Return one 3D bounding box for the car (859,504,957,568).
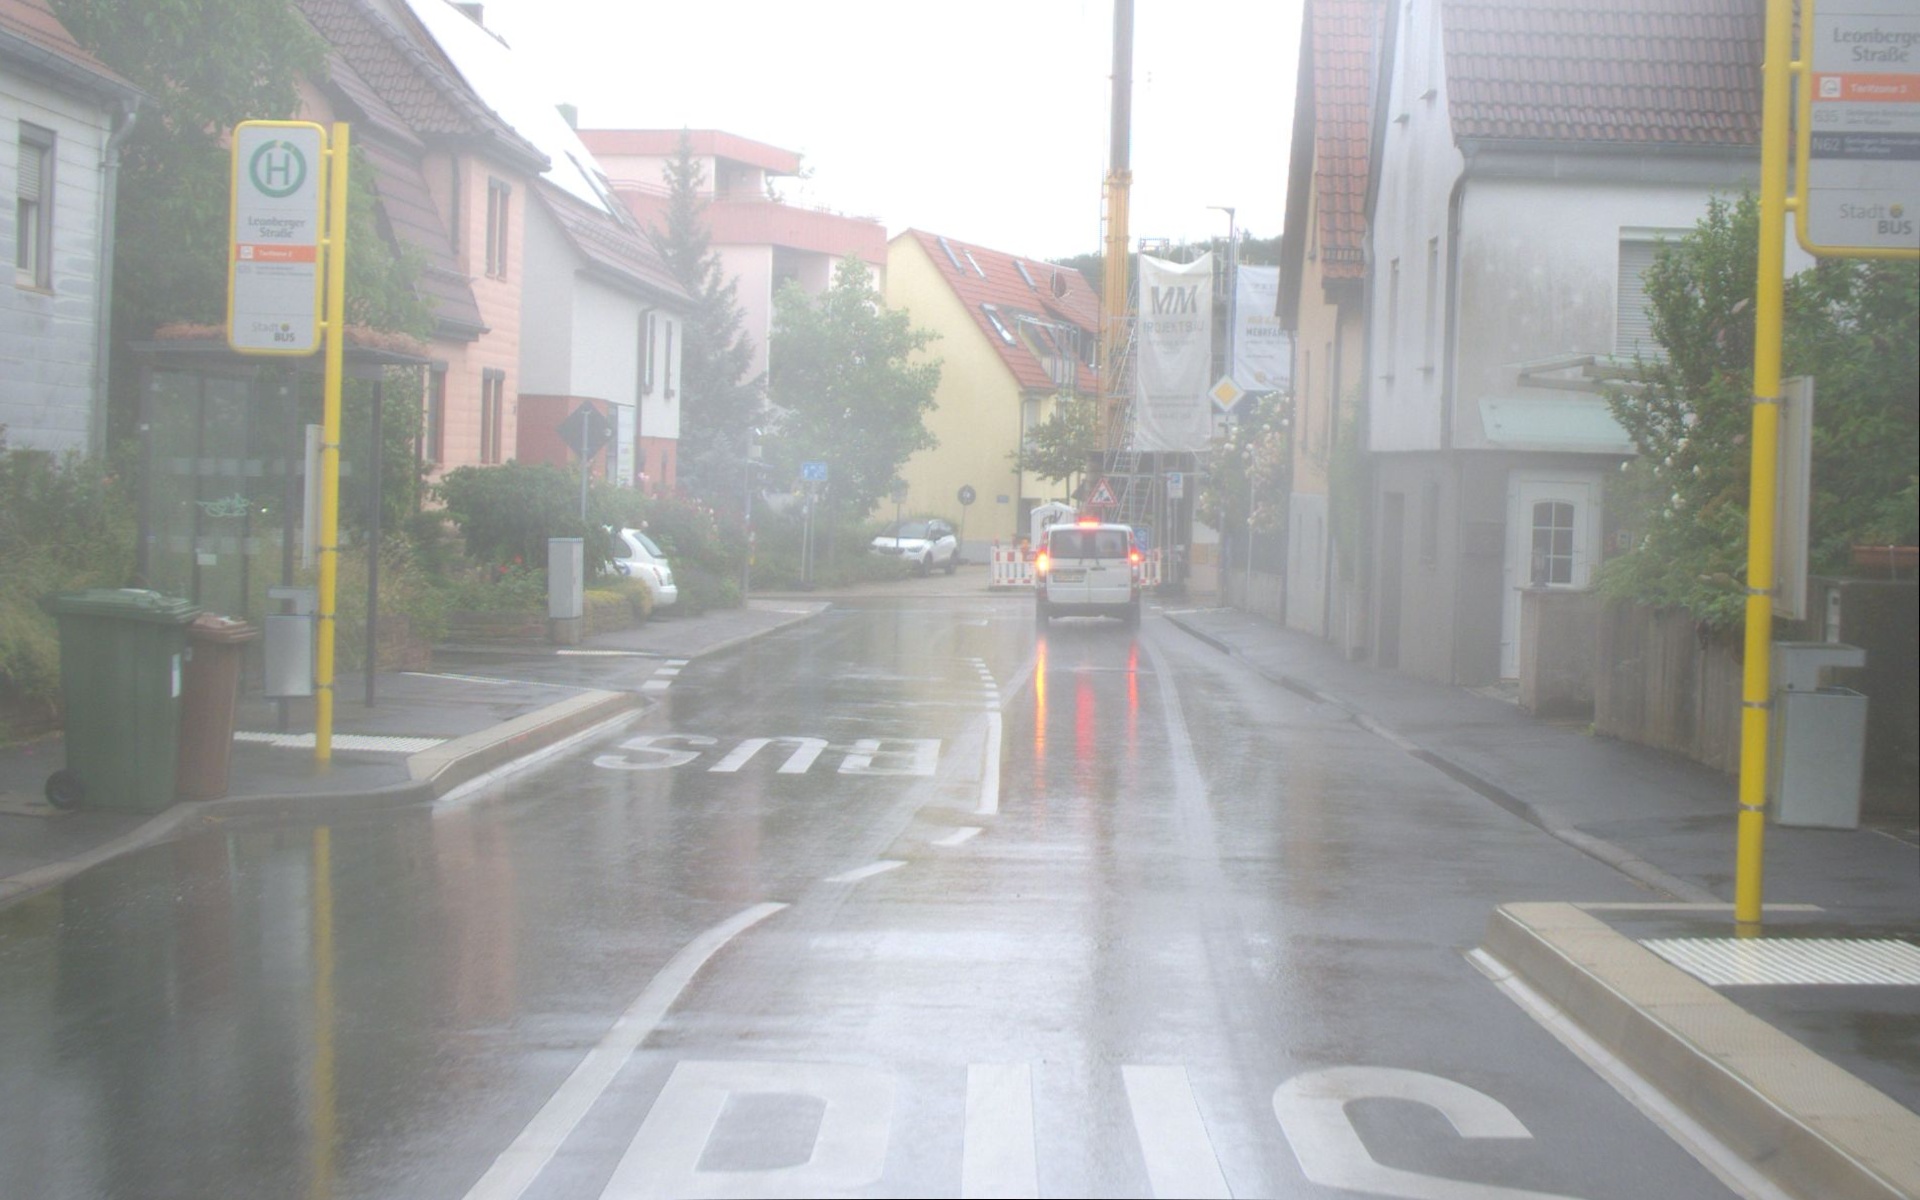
[{"bbox_3d":[-1.461,-1.836,97.967,1.601,1.672,3.935,3,3,17],"label":"car"}]

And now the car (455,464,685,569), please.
[{"bbox_3d":[-6.514,-1.404,57.649,3.545,1.524,1.663,4,1,3],"label":"car"}]

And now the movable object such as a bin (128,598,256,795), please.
[{"bbox_3d":[-3.943,0.488,17.660,0.468,0.935,0.454,5,3,3],"label":"movable object such as a bin"}]

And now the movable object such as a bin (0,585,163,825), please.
[{"bbox_3d":[-4.203,0.493,16.458,0.553,1.079,0.527,5,1,3],"label":"movable object such as a bin"}]

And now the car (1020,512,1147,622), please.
[{"bbox_3d":[2.187,-0.602,62.003,2.181,1.863,4.000,1,1,1],"label":"car"}]
